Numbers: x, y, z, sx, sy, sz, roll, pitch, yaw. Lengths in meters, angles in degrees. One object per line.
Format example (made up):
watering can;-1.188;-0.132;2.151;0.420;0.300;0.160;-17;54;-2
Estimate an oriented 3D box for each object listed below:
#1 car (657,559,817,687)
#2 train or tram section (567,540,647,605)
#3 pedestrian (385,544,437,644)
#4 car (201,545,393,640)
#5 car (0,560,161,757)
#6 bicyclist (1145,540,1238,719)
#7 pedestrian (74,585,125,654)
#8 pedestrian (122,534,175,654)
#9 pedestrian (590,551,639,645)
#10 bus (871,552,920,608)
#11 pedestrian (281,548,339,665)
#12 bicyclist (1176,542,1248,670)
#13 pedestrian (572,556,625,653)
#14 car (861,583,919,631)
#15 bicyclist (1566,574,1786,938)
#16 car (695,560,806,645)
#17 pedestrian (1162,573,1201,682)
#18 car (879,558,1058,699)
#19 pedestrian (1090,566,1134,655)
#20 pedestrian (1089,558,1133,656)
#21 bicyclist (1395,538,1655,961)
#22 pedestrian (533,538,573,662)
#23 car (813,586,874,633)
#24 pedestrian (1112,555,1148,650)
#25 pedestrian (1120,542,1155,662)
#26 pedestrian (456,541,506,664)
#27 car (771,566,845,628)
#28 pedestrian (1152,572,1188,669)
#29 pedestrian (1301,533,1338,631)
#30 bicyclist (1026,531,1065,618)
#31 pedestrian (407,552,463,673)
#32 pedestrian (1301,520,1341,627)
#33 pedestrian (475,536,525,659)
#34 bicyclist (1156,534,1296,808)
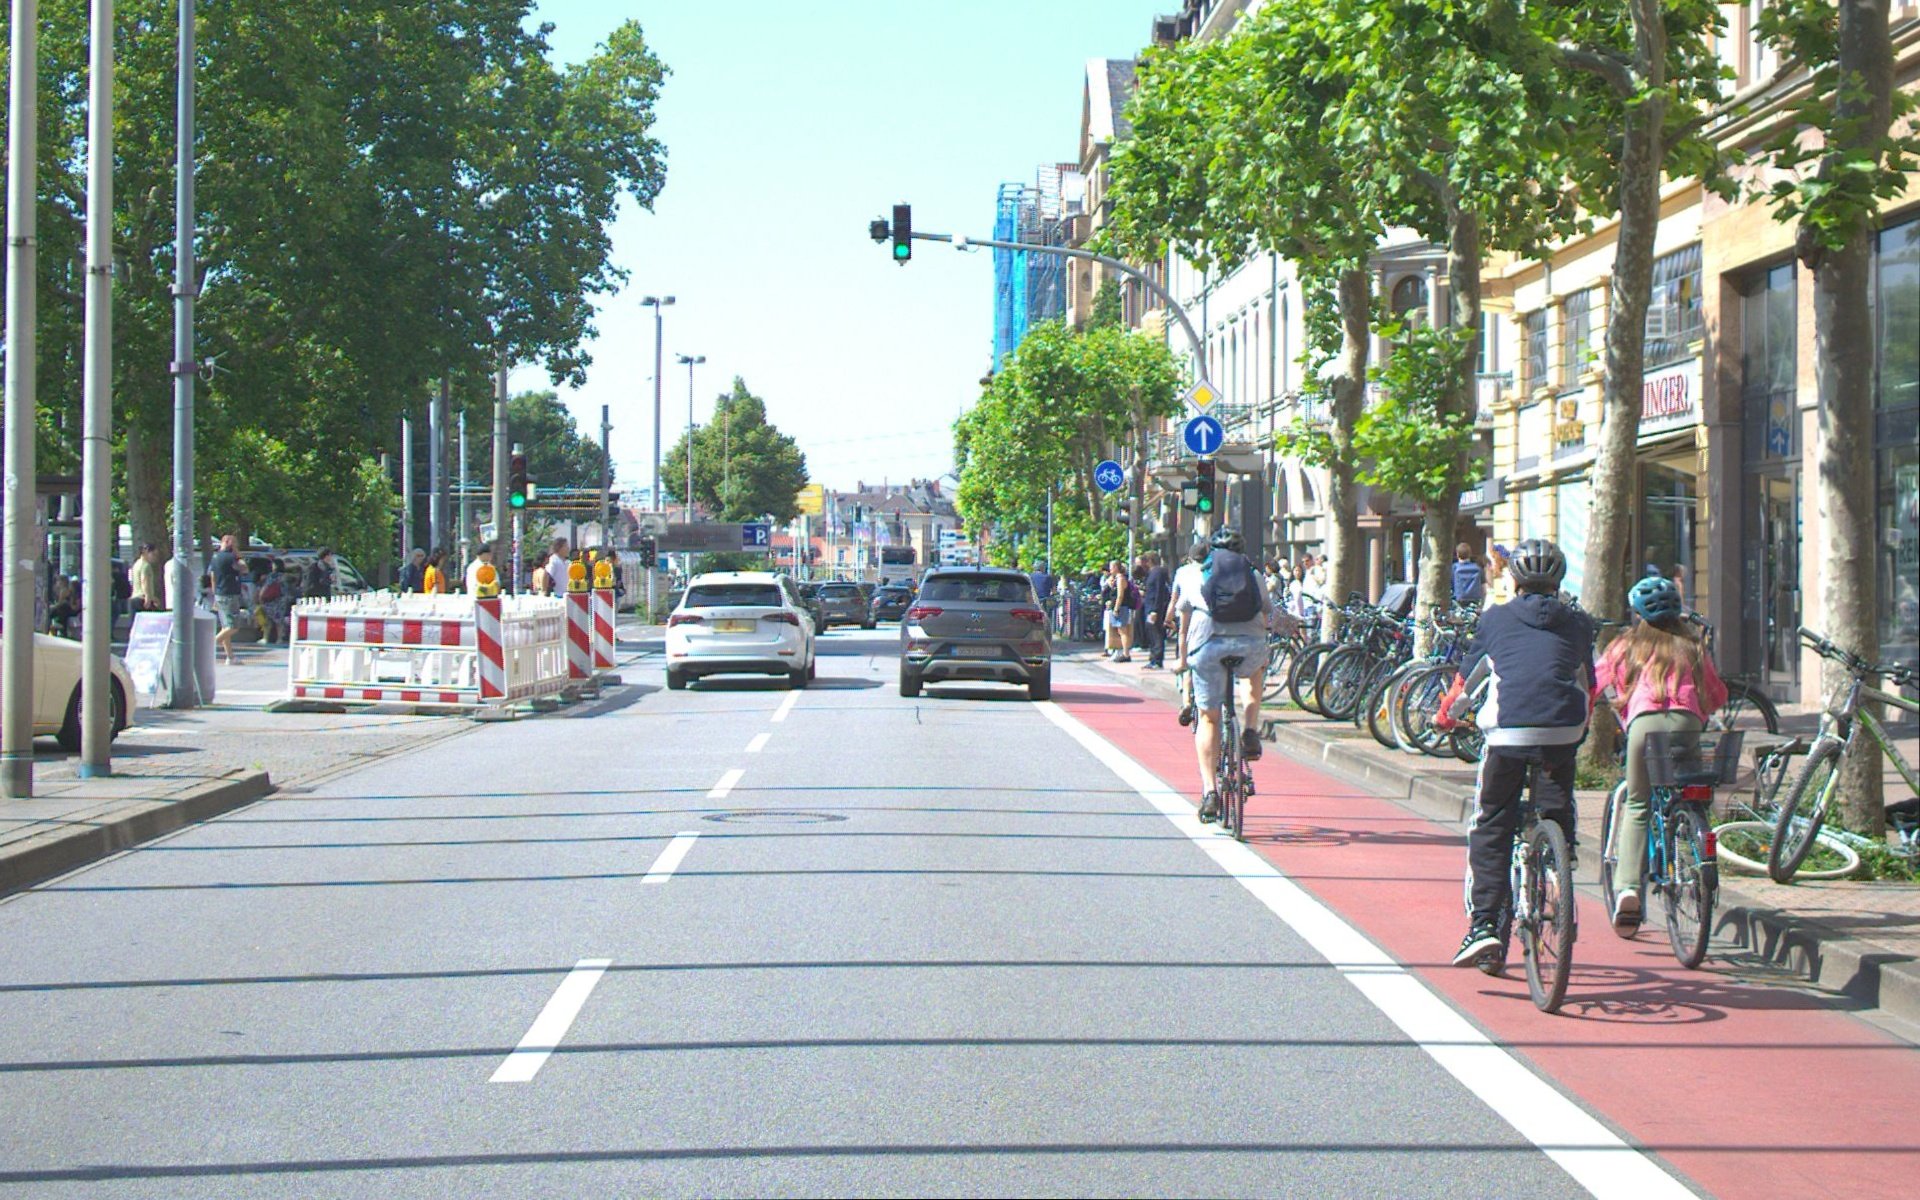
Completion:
car;-2.807;0.258;44.015;1.845;1.554;4.000;0;1;-1
train or tram section;-18.648;-1.461;182.187;2.613;3.337;11.001;1;0;2
pedestrian;-9.989;-0.102;62.593;0.633;1.804;0.730;1;0;20
car;-14.168;-0.148;73.770;1.861;1.948;4.756;1;0;20
car;-8.593;0.427;26.855;1.894;1.536;4.854;2;0;26
bicyclist;2.133;0.262;31.772;0.774;1.629;0.851;0;1;-1
pedestrian;-16.421;0.371;65.638;0.633;1.288;0.730;1;0;20
pedestrian;-11.927;-0.093;50.516;0.584;1.716;0.789;1;3;1
pedestrian;-6.779;-0.030;67.433;0.633;1.828;0.730;1;0;28
bus;-4.313;-1.278;226.617;2.994;3.582;11.745;1;0;-2
pedestrian;-10.451;0.105;55.253;0.633;1.852;0.686;1;0;20
bicyclist;3.578;0.080;48.863;0.573;1.791;0.857;-2;2;-36
pedestrian;-5.985;0.081;56.936;0.633;1.590;0.686;1;0;20
car;-2.625;0.235;127.640;1.845;1.662;4.001;2;1;-5
bicyclist;2.780;0.590;13.398;0.600;1.353;0.721;2;1;-5
car;-3.683;0.027;60.988;1.845;1.444;4.000;0;1;-2
pedestrian;3.354;0.412;52.016;0.549;1.625;0.589;-1;0;2
car;0.054;0.306;41.294;1.845;1.554;4.001;2;1;-4
pedestrian;2.634;0.182;59.734;0.610;1.510;0.678;-4;0;-3
pedestrian;2.740;0.121;62.443;0.610;1.733;0.678;-4;0;-3
bicyclist;1.999;0.515;12.243;0.698;1.436;0.791;2;0;-5
pedestrian;-6.306;-0.003;53.308;0.532;1.912;0.560;1;0;1
car;-3.612;0.280;106.383;1.845;1.409;4.000;1;0;-2
pedestrian;3.275;0.048;66.403;0.610;1.817;0.678;1;0;-3
pedestrian;2.813;0.030;54.432;0.523;1.891;0.641;-1;0;2
pedestrian;-6.967;0.036;50.010;0.539;1.773;0.606;2;0;5
car;-3.924;-0.083;89.045;1.845;1.554;4.000;1;0;-2
pedestrian;3.308;0.323;54.204;0.523;1.516;0.641;-1;0;2
pedestrian;5.978;-0.296;57.123;0.522;1.603;0.641;-1;0;-1
bicyclist;1.534;-0.462;61.638;0.647;1.545;0.817;1;0;-1
pedestrian;-7.534;0.182;49.310;0.539;1.712;0.606;2;0;-32
pedestrian;5.598;-0.410;53.329;0.549;1.634;0.589;-1;0;2
pedestrian;-6.542;-0.038;48.860;0.429;1.734;0.606;2;0;-32
bicyclist;1.484;0.389;19.325;0.630;1.476;1.198;1;0;-2
